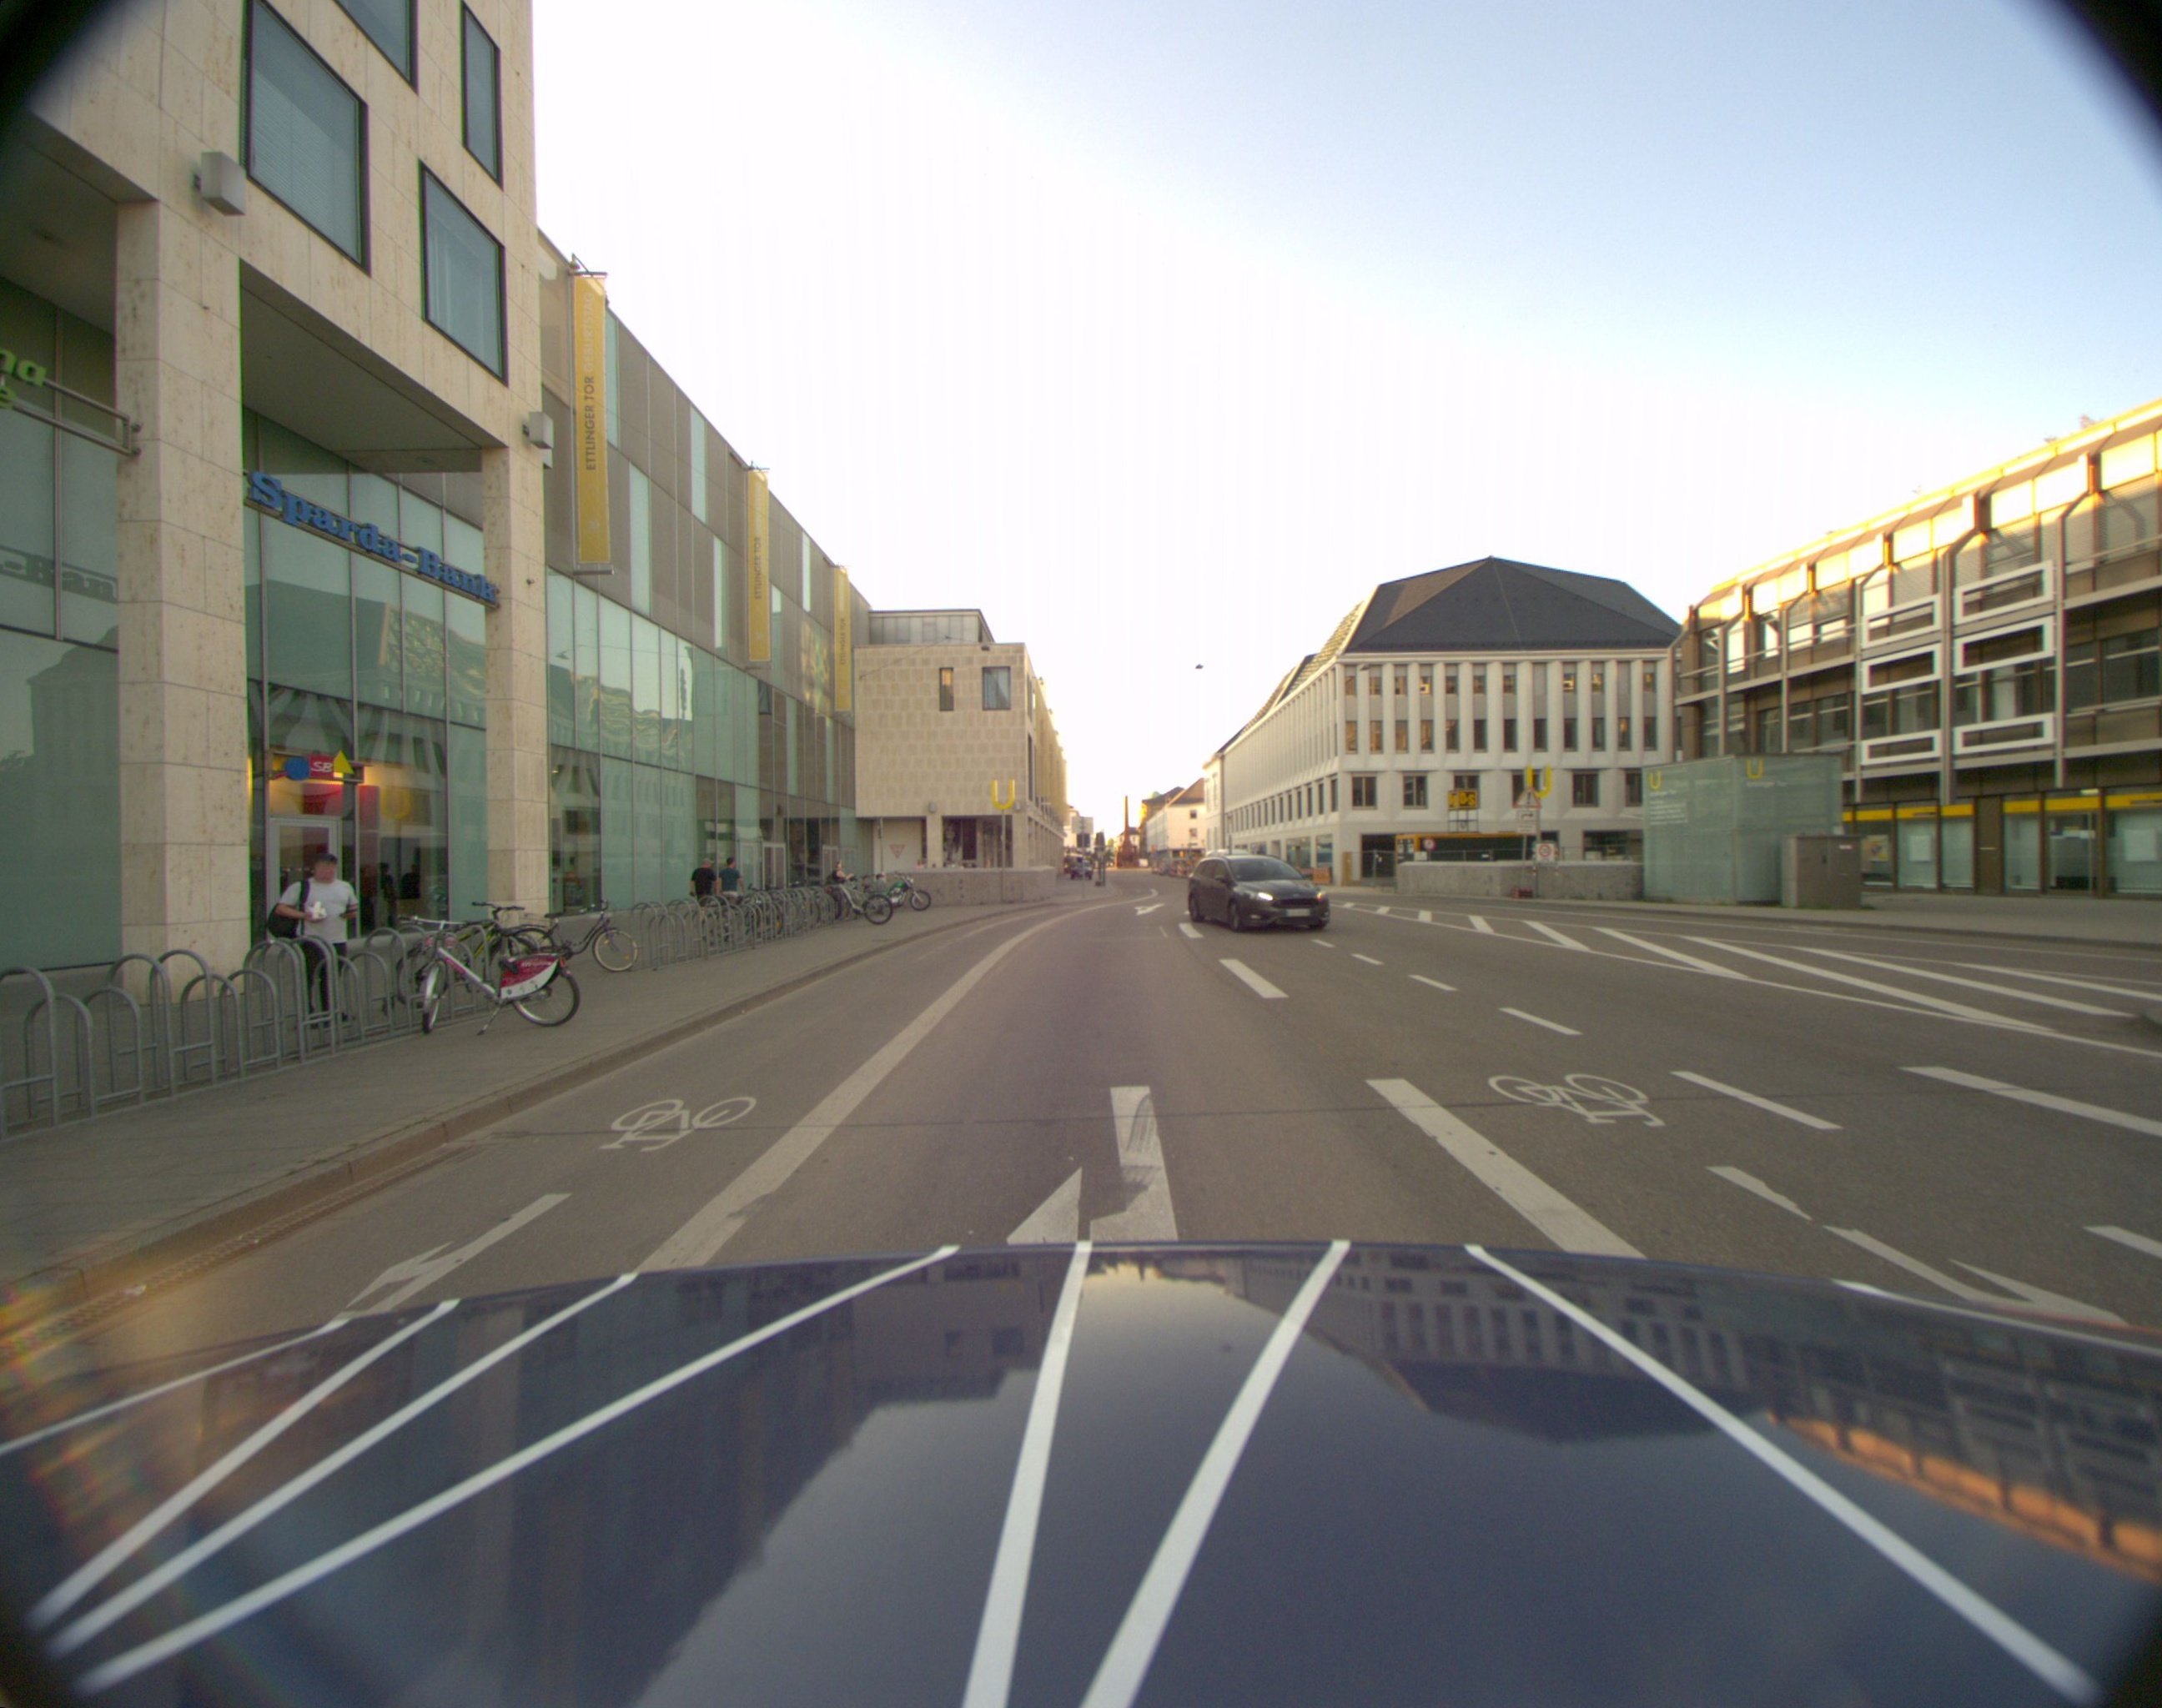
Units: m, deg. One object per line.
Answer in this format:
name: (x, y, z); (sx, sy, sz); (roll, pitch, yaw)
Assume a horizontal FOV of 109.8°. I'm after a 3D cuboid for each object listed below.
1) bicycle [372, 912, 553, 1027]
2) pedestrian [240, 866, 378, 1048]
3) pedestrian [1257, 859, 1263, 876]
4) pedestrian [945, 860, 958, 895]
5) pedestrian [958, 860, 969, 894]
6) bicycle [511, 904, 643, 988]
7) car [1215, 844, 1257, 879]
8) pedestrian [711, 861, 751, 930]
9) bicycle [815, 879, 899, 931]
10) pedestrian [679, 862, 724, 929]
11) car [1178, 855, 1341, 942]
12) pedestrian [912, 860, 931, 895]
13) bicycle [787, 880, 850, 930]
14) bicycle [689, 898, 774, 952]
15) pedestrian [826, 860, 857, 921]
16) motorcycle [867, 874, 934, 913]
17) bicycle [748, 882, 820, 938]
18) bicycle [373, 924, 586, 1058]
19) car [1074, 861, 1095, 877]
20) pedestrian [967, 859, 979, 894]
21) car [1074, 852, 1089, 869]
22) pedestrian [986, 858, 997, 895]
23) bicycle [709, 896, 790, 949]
bicycle: (-6.800, 1.261, 8.387); (1.518, 1.117, 0.581); (-3, 0, 4)
pedestrian: (-7.521, 0.970, 7.427); (0.707, 1.682, 0.630); (-1, 0, 9)
pedestrian: (13.757, 1.061, 58.316); (0.350, 1.308, 0.338); (-1, 0, 1)
pedestrian: (-6.437, 1.154, 37.842); (0.494, 1.733, 0.657); (-1, 0, 3)
pedestrian: (-5.997, 1.175, 38.781); (0.454, 1.733, 0.493); (-1, 0, 3)
bicycle: (-7.305, 1.317, 11.067); (1.447, 1.058, 0.580); (-3, 0, -10)
car: (11.983, 0.595, 59.158); (2.141, 2.540, 6.050); (-1, 0, 1)
pedestrian: (-8.865, 1.034, 19.261); (0.698, 1.686, 0.820); (-1, 0, -7)
bicycle: (-5.391, 1.221, 18.314); (1.838, 1.140, 0.466); (-3, 0, 1)
pedestrian: (-9.601, 1.026, 19.241); (0.740, 1.638, 0.820); (-1, 0, -6)
car: (3.462, 0.808, 15.669); (1.763, 1.454, 4.377); (-2, 0, -8)
pedestrian: (-8.061, 1.200, 38.356); (0.793, 1.733, 0.657); (-1, 0, 3)
bicycle: (-6.606, 1.268, 19.158); (1.345, 1.157, 0.518); (-3, 0, -1)
bicycle: (-6.657, 1.346, 14.498); (1.345, 0.927, 0.518); (-3, 0, -1)
pedestrian: (-6.614, 0.998, 20.983); (0.809, 1.633, 0.646); (-1, 0, -18)
motorcycle: (-5.713, 1.245, 24.079); (2.007, 1.217, 0.480); (-1, 0, -2)
bicycle: (-6.662, 1.240, 17.072); (1.345, 1.157, 0.518); (-3, 0, -1)
bicycle: (-5.401, 1.221, 6.861); (1.518, 1.057, 0.466); (-3, 0, 1)
car: (0.335, 1.303, 67.885); (1.798, 1.365, 3.671); (-1, 0, 2)
pedestrian: (-5.330, 1.114, 37.451); (0.504, 1.733, 0.493); (-1, 0, 3)
car: (0.124, 0.846, 100.132); (1.798, 2.198, 3.671); (-1, 0, 2)
pedestrian: (-4.302, 1.067, 36.516); (0.454, 1.733, 0.493); (-1, 0, 3)
bicycle: (-6.599, 1.355, 15.144); (1.345, 0.927, 0.518); (-3, 0, -1)
